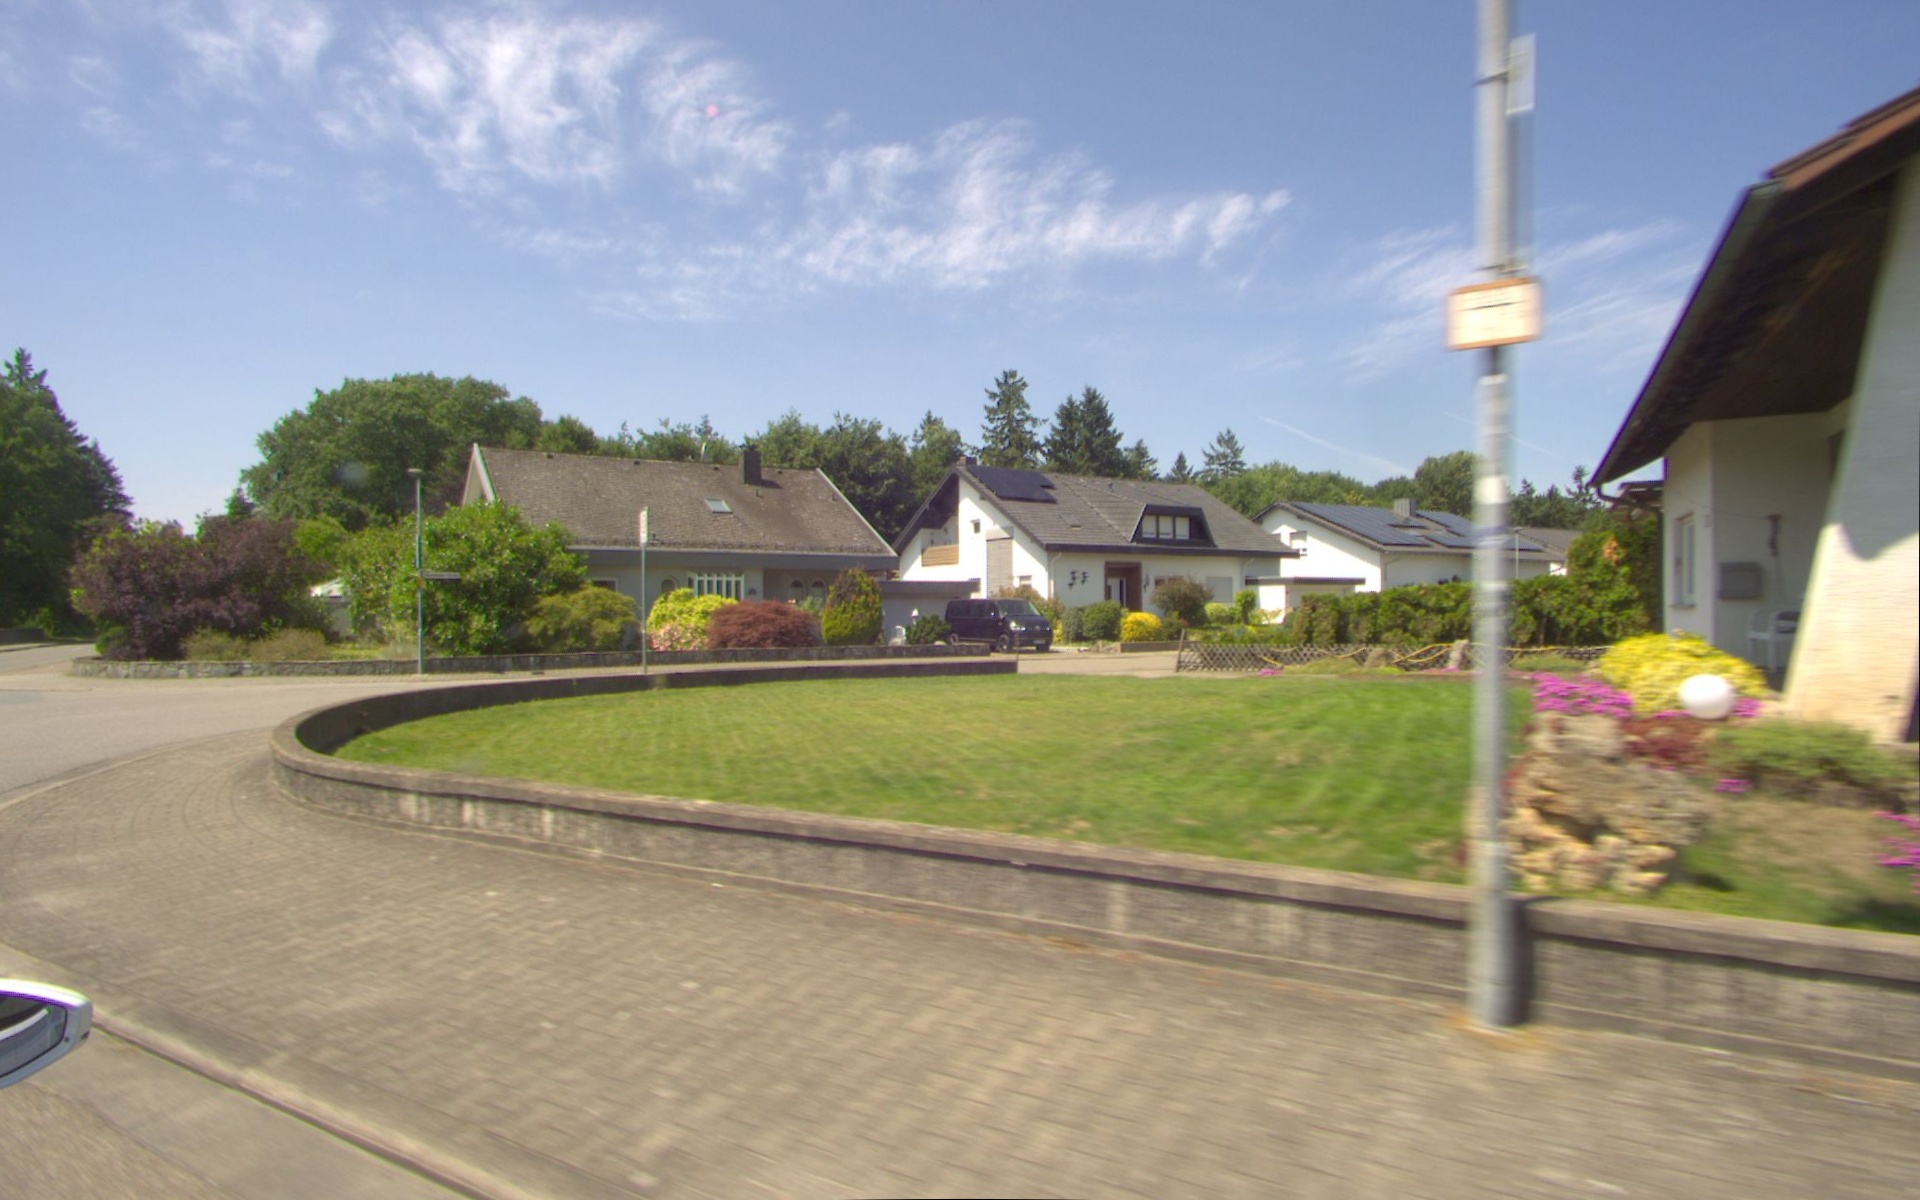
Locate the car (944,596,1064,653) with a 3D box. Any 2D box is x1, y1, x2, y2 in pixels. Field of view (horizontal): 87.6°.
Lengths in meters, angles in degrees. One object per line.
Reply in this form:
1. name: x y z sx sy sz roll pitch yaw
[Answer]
1. car: 1.520 0.858 36.700 1.902 1.940 4.937 0 0 -33
